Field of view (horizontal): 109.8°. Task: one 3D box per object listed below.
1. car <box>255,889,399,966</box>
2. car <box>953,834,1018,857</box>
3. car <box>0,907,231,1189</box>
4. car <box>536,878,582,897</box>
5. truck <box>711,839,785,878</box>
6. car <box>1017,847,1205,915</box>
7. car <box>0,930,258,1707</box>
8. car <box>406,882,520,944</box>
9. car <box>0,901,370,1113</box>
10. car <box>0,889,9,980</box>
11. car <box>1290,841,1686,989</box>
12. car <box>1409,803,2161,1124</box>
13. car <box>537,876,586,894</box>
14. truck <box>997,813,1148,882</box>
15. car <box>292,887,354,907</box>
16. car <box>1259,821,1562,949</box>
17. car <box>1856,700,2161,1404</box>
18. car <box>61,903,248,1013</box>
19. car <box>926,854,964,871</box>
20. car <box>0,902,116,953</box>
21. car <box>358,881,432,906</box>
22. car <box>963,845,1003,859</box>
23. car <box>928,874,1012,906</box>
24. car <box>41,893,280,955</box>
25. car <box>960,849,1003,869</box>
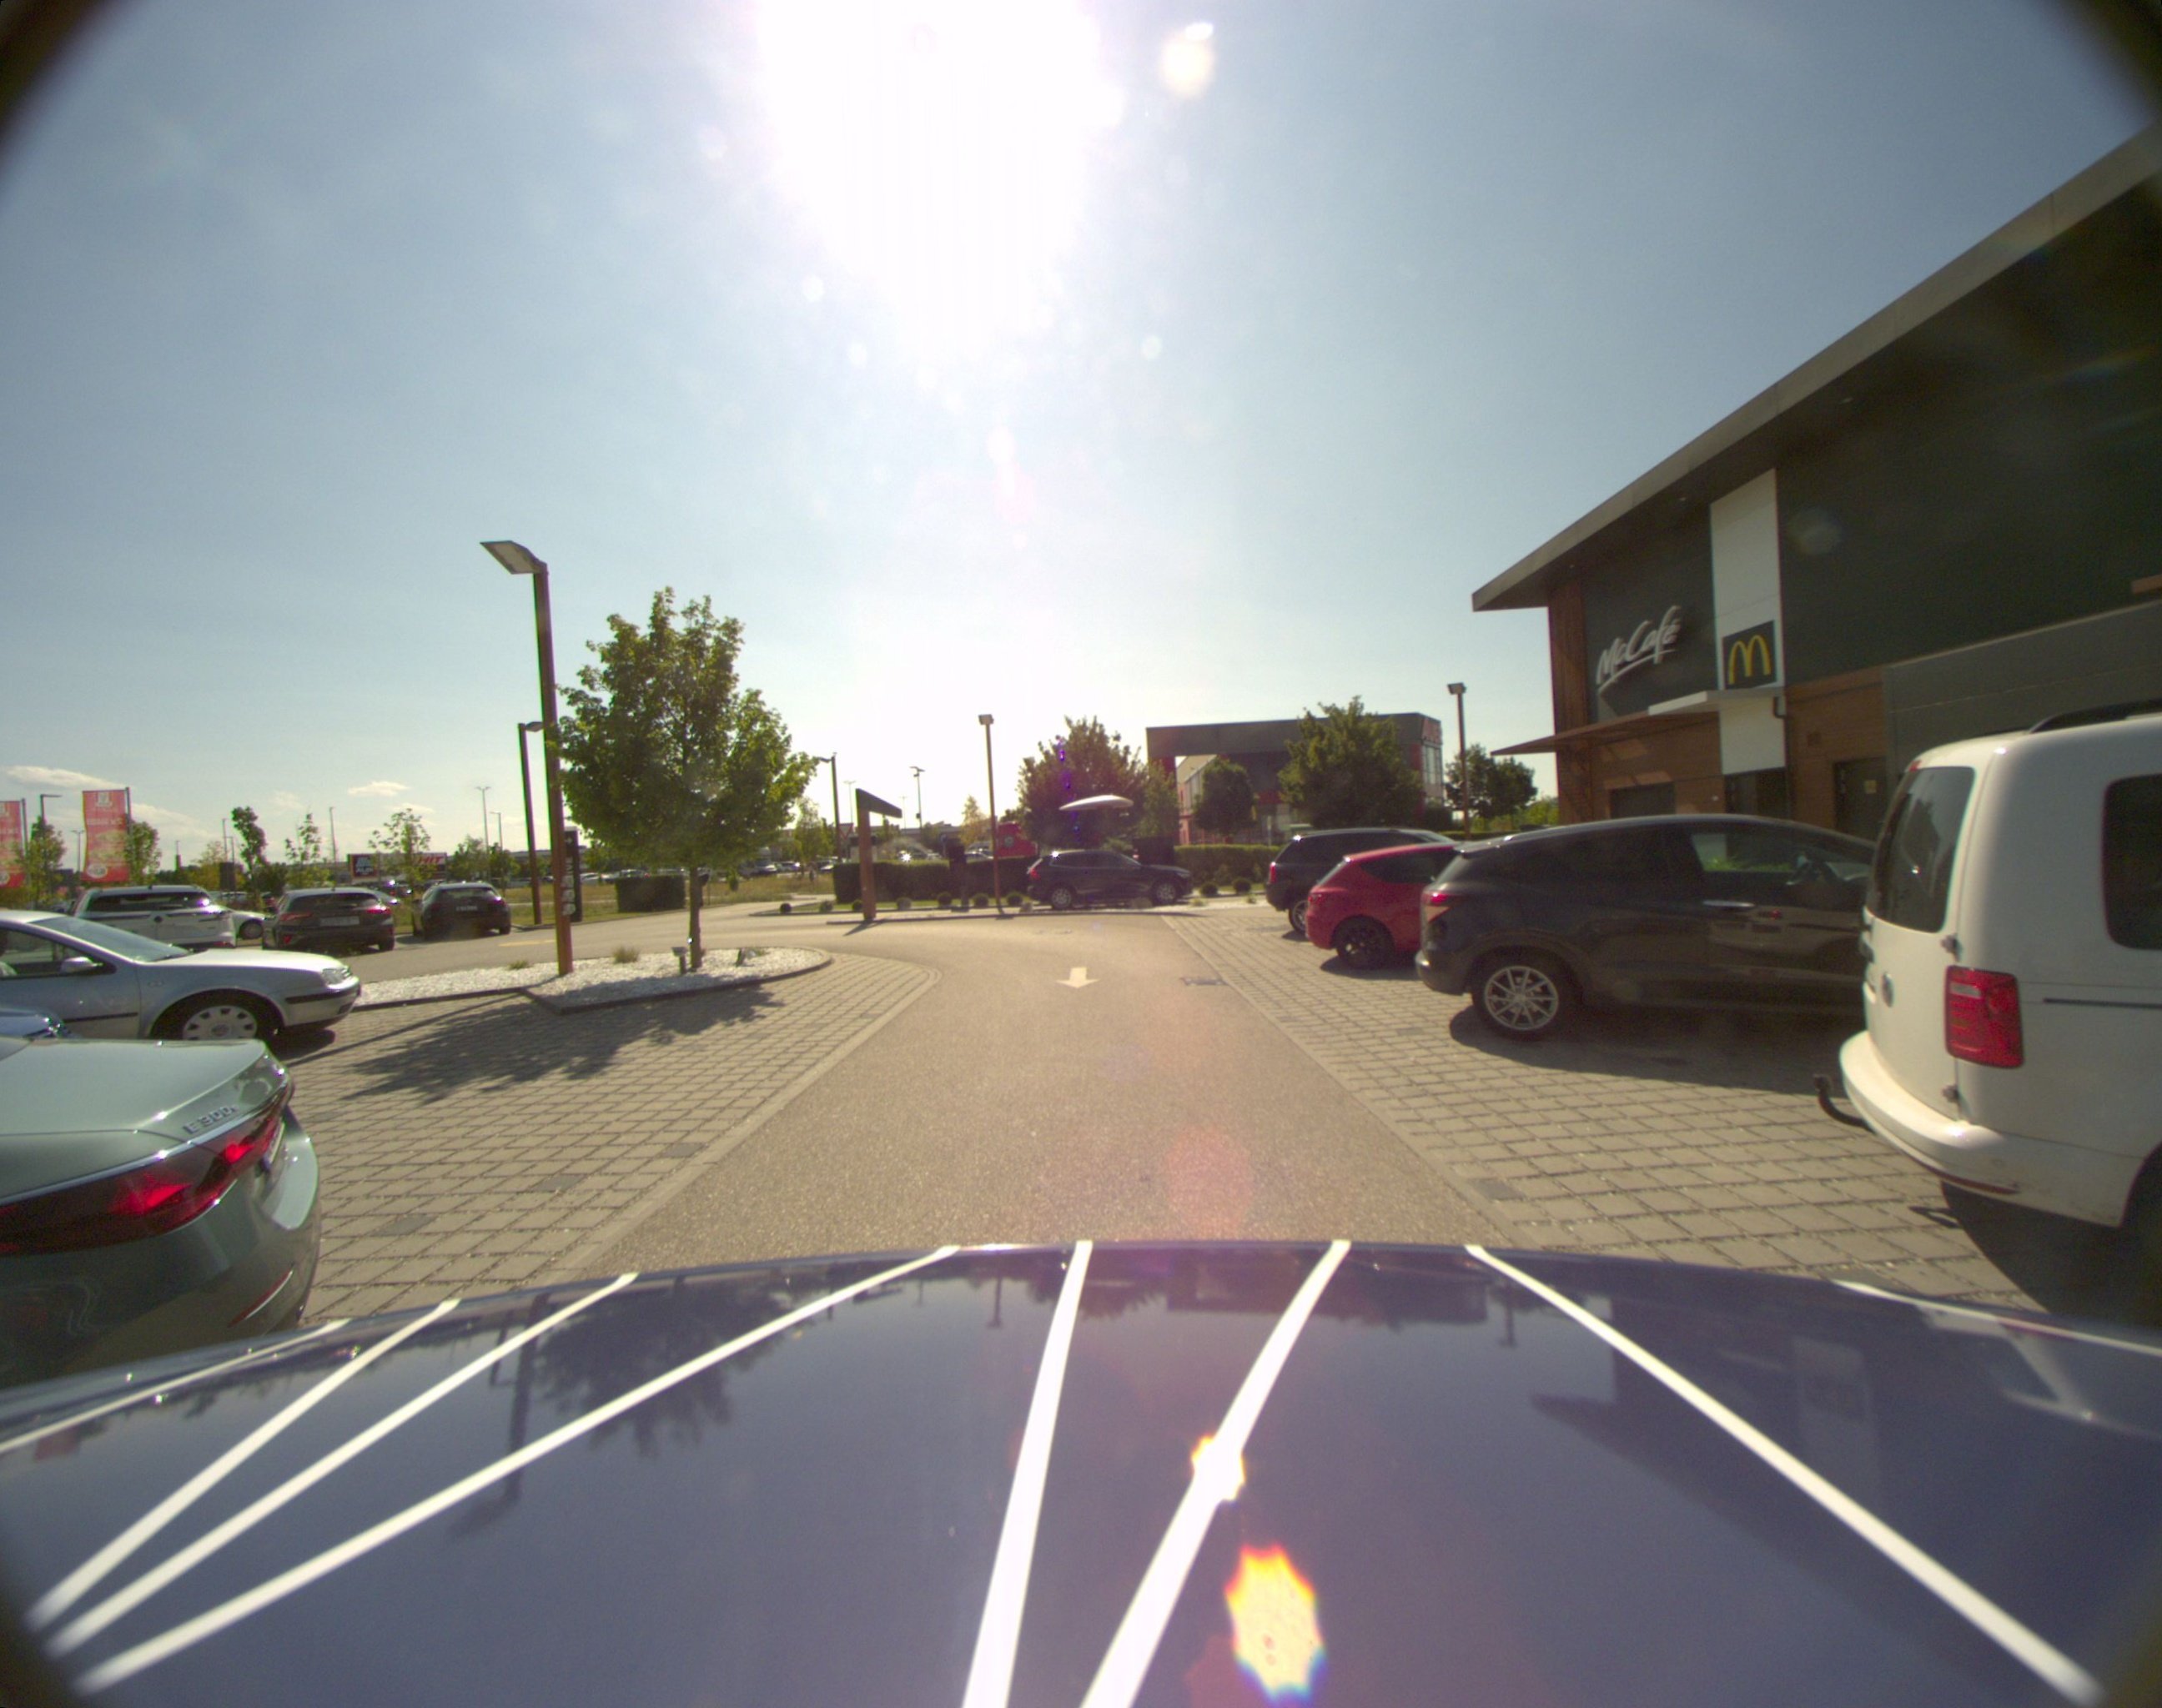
[{"bbox_3d":[-17.006,1.560,17.075,4.075,1.414,1.801,-2,0,39],"label":"car"},{"bbox_3d":[-10.295,-0.919,82.376,6.567,2.231,2.300,-3,0,0],"label":"car"},{"bbox_3d":[-7.924,1.232,3.973,4.425,1.502,1.978,-3,0,-43],"label":"car"},{"bbox_3d":[-50.173,3.189,73.093,1.537,1.547,3.226,-2,0,28],"label":"car"},{"bbox_3d":[-30.684,0.475,69.949,7.545,3.332,2.427,-2,1,34],"label":"truck"},{"bbox_3d":[0.810,0.734,21.683,5.061,1.620,1.924,-3,0,-1],"label":"car"},{"bbox_3d":[-4.074,1.080,0.539,4.551,1.502,1.882,-3,0,-43],"label":"car"},{"bbox_3d":[-16.855,1.540,20.652,3.765,1.414,1.917,-3,0,44],"label":"car"},{"bbox_3d":[-8.639,1.250,6.303,3.911,1.418,1.702,-2,0,-42],"label":"car"},{"bbox_3d":[-21.889,1.600,12.538,2.070,1.739,4.368,-3,0,2],"label":"car"},{"bbox_3d":[4.638,0.683,9.069,3.763,1.435,1.678,-3,0,29],"label":"car"},{"bbox_3d":[4.611,0.590,5.441,3.834,1.622,1.761,-3,0,34],"label":"car"},{"bbox_3d":[-46.791,2.815,68.495,1.537,1.376,3.226,-2,0,28],"label":"car"},{"bbox_3d":[-0.520,-0.421,48.411,9.123,3.844,3.210,-3,0,1],"label":"truck"},{"bbox_3d":[-63.163,3.575,63.319,3.993,1.455,1.762,-3,0,14],"label":"car"},{"bbox_3d":[5.104,0.470,12.036,4.028,1.696,1.678,-3,1,39],"label":"car"},{"bbox_3d":[4.757,0.458,1.637,4.134,1.910,1.761,-2,1,40],"label":"car"},{"bbox_3d":[-16.691,1.725,13.645,4.044,1.547,1.810,-3,0,36],"label":"car"},{"bbox_3d":[-15.662,0.958,87.566,1.889,1.718,4.265,-2,0,32],"label":"car"},{"bbox_3d":[-34.790,2.437,24.744,1.685,1.445,3.757,-3,0,9],"label":"car"},{"bbox_3d":[-48.884,2.811,54.166,3.770,1.551,1.802,-3,0,8],"label":"car"},{"bbox_3d":[-10.165,-0.216,79.234,3.905,1.334,1.665,-3,0,0],"label":"car"},{"bbox_3d":[-5.925,1.925,40.966,4.321,1.414,1.734,-3,0,-5],"label":"car"},{"bbox_3d":[-27.486,2.048,22.937,1.886,1.390,4.157,-3,0,9],"label":"car"},{"bbox_3d":[-9.668,0.482,74.187,3.998,1.718,1.894,-3,0,-3],"label":"car"}]
